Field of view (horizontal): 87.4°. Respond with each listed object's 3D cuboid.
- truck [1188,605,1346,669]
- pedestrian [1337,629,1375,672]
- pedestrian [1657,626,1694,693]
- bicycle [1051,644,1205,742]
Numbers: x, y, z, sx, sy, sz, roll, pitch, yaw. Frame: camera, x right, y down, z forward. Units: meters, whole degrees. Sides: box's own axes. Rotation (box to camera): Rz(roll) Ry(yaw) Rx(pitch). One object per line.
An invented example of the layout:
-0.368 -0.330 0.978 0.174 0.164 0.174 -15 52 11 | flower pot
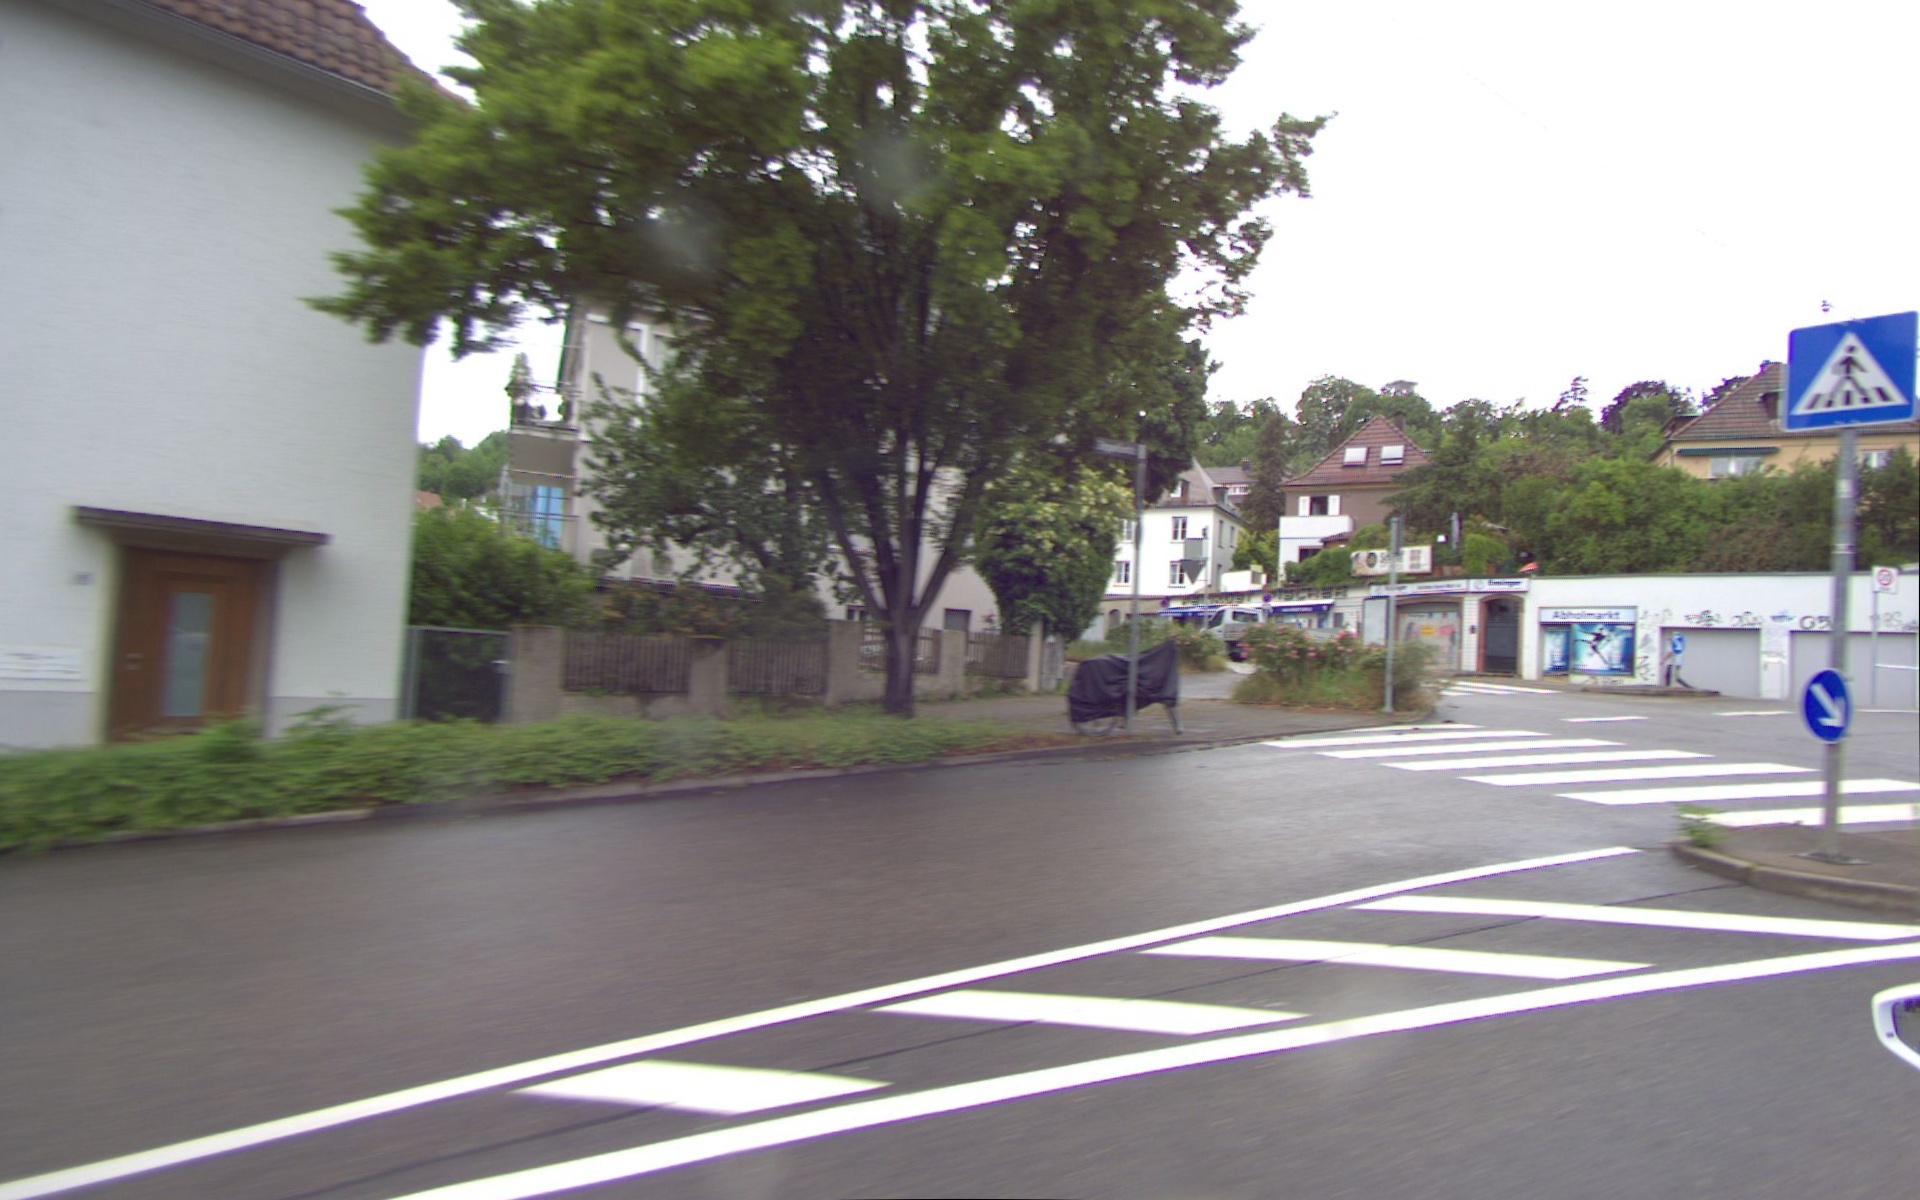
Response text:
11.817 1.373 39.380 2.280 2.299 6.777 2 -1 -21 | truck
14.904 1.895 37.831 0.877 1.525 0.974 1 1 -19 | pedestrian
20.326 1.682 28.530 0.803 1.830 0.697 2 -1 -44 | pedestrian
2.095 1.129 12.456 1.933 1.099 0.420 0 0 -20 | bicycle
